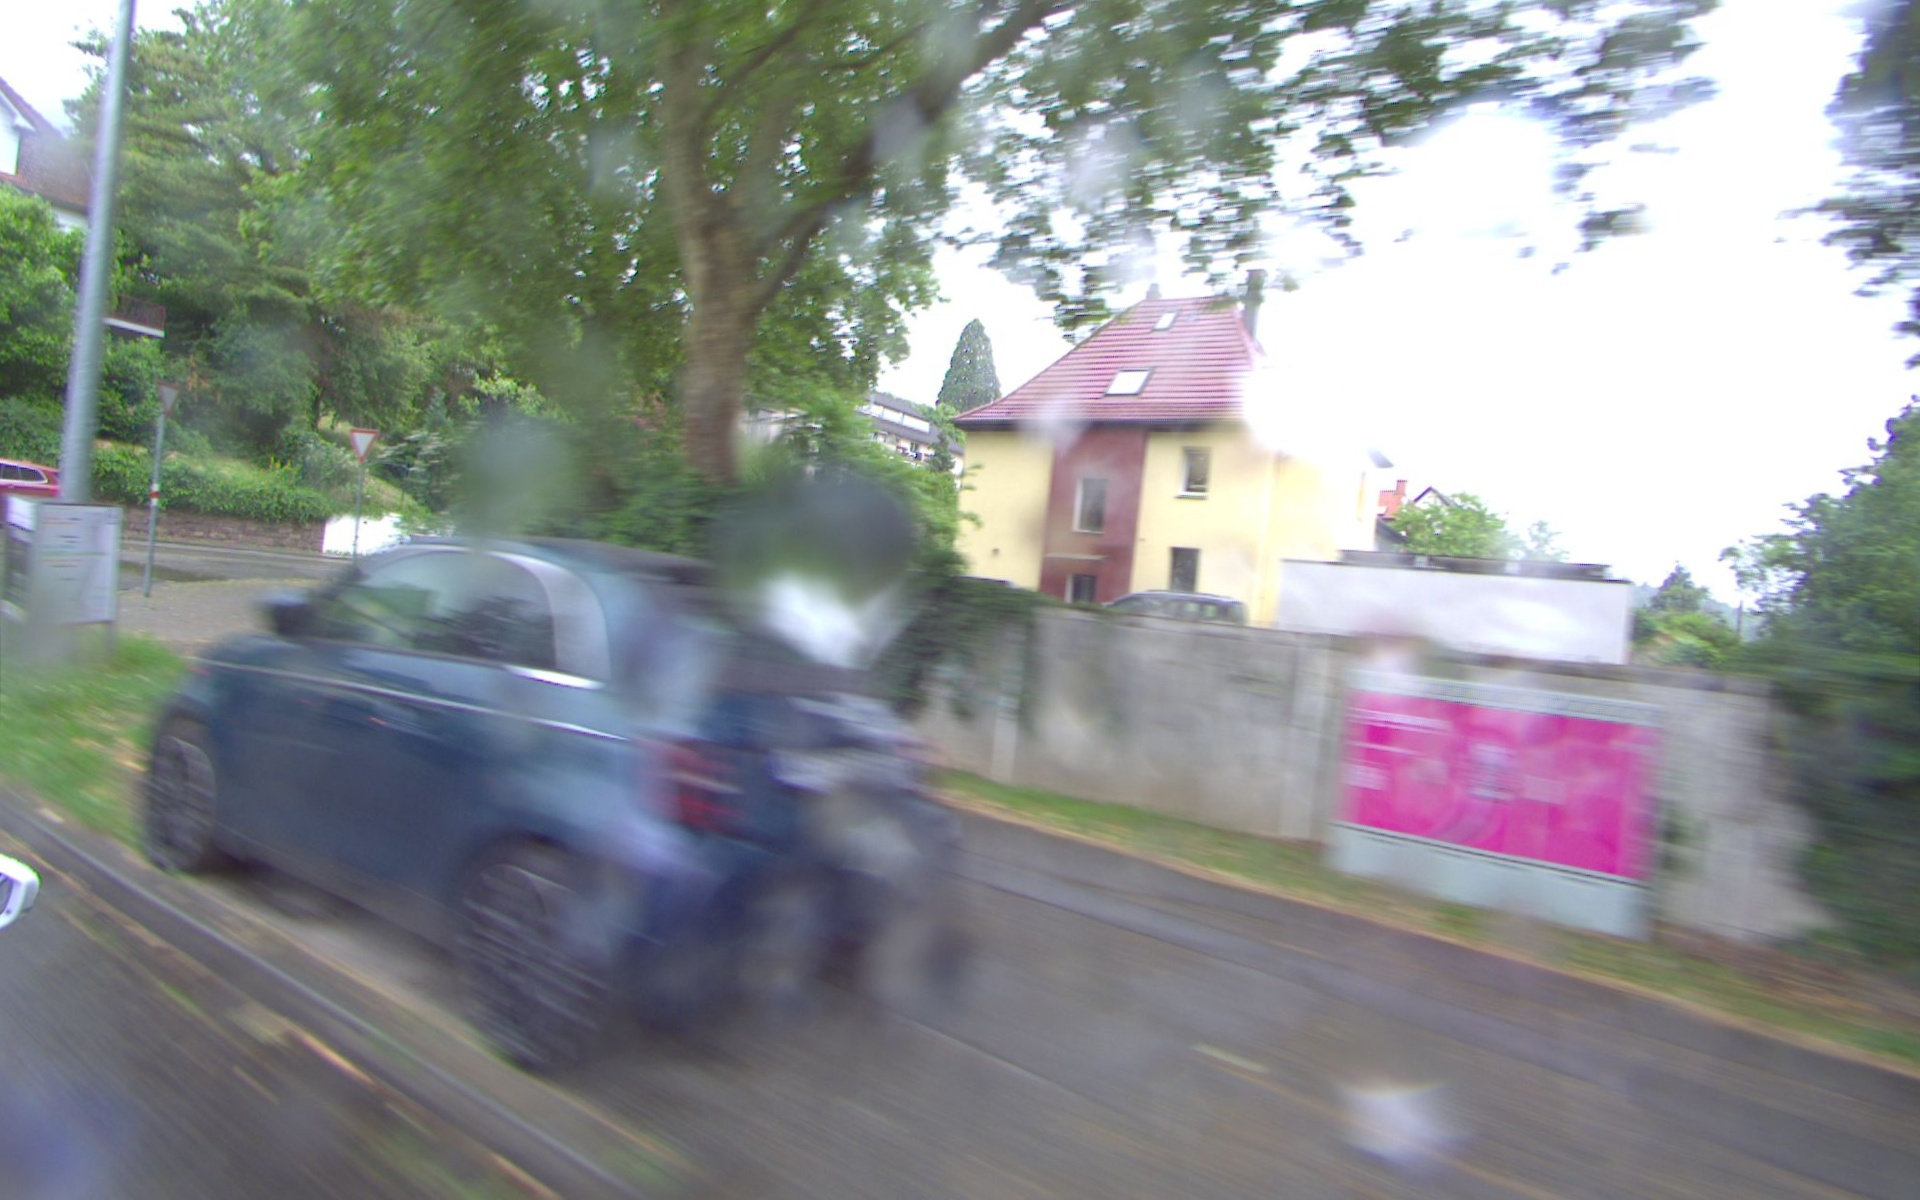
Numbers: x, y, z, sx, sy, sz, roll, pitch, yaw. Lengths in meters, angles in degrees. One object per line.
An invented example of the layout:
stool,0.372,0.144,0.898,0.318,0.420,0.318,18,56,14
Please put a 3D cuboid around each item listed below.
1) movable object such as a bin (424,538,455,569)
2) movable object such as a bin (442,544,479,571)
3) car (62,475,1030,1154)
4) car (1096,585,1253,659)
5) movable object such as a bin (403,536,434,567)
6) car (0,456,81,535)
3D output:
movable object such as a bin,-20.031,-1.780,38.744,0.626,1.074,0.792,6,1,32
movable object such as a bin,-19.686,-1.686,39.646,0.838,0.927,0.951,6,1,32
car,-1.766,0.491,4.088,3.540,1.508,1.753,7,-2,32
car,5.283,0.538,24.905,3.374,1.490,1.487,6,1,33
movable object such as a bin,-20.523,-1.832,38.123,0.677,1.074,0.752,6,1,32
car,-22.692,-2.532,22.243,1.746,1.621,4.569,6,0,33
